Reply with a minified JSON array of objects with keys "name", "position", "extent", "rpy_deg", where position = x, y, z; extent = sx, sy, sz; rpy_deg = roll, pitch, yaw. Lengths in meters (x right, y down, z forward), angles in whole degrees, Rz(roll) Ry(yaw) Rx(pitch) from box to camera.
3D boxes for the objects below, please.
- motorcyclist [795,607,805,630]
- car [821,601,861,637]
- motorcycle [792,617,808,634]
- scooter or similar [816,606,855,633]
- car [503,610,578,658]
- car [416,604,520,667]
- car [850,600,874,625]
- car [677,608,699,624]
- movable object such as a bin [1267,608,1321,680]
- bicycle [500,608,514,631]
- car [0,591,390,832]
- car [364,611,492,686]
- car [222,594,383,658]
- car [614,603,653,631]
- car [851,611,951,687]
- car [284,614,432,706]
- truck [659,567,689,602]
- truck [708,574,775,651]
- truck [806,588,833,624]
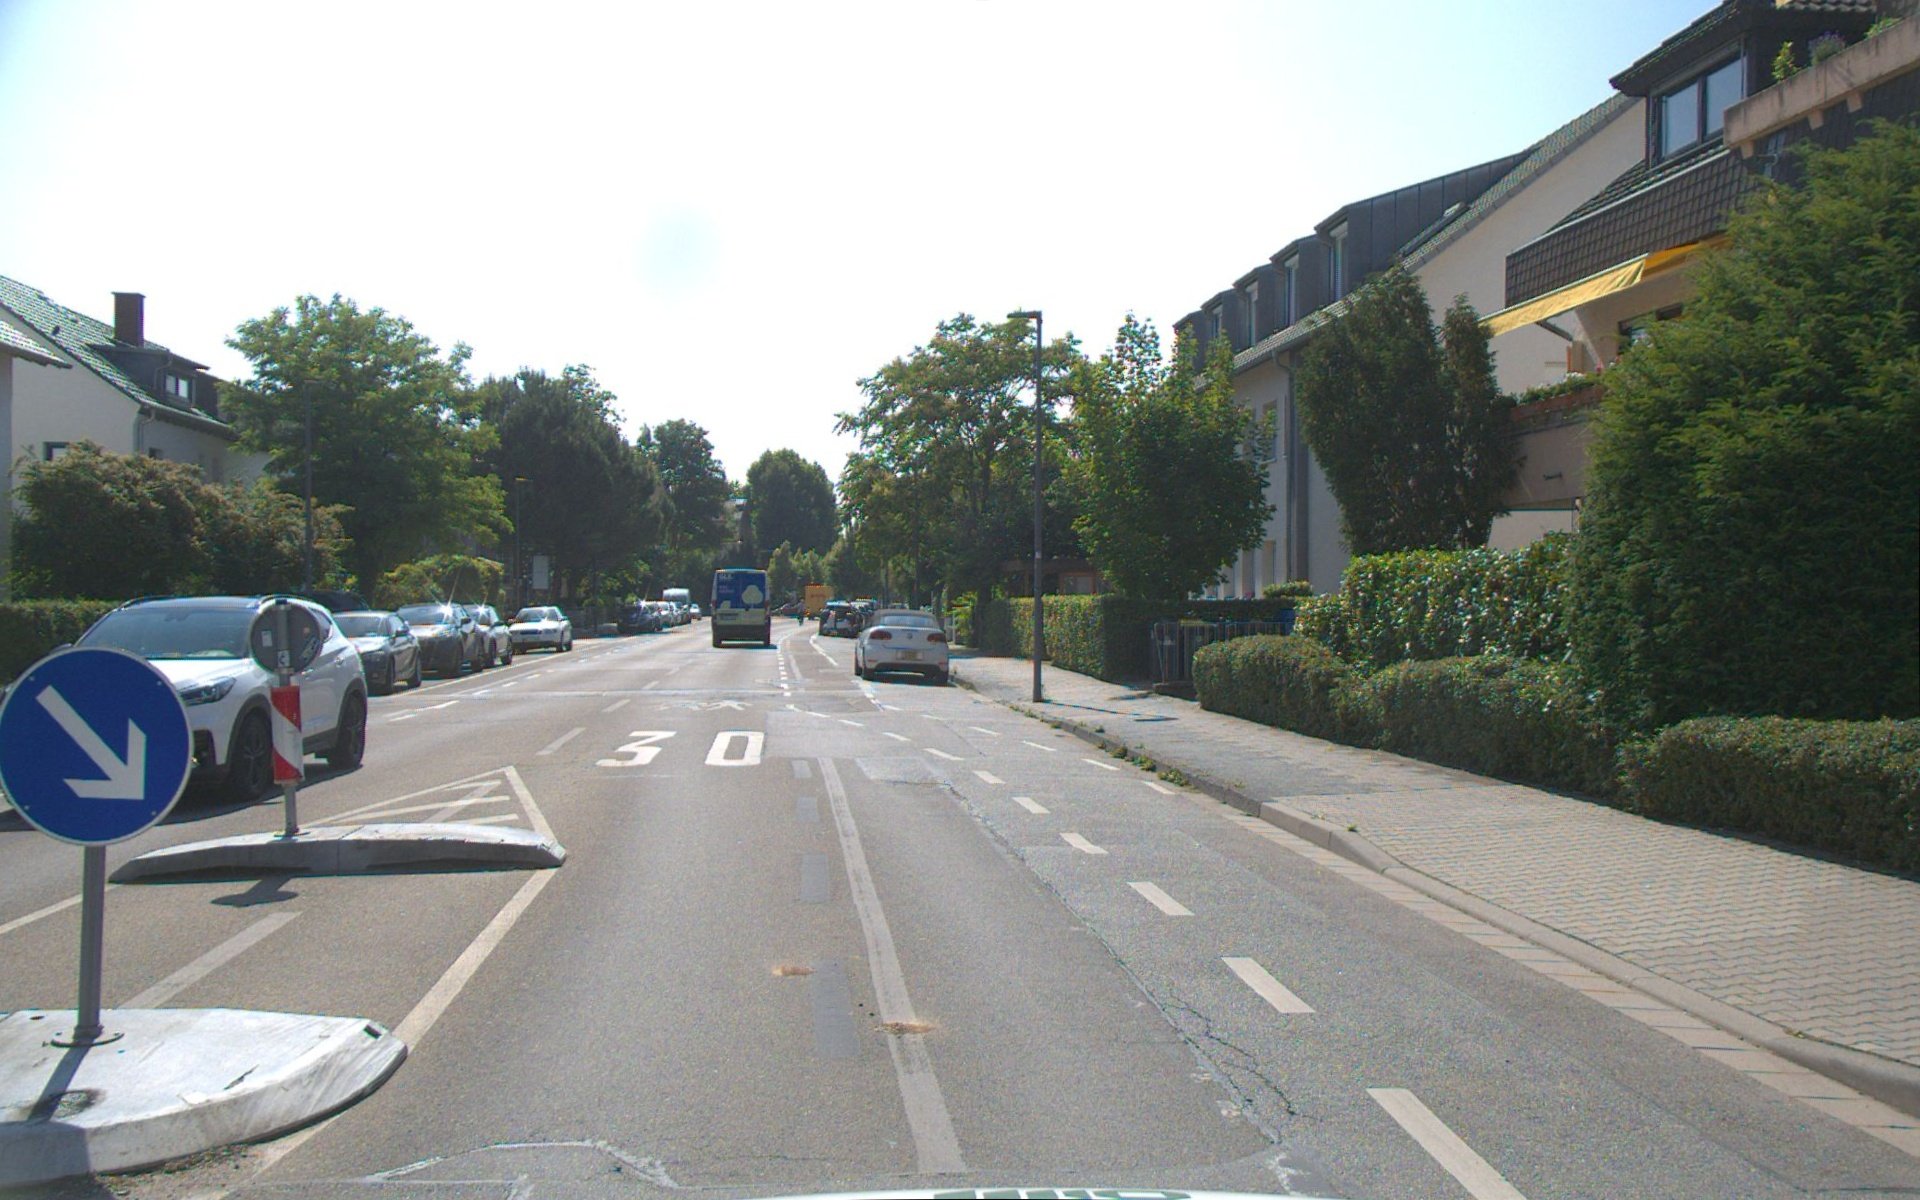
[{"name":"motorcyclist","position":[-10.782,1.227,111.295],"extent":[0.659,1.545,0.651],"rpy_deg":[0,-1,-6]},{"name":"car","position":[-5.919,0.912,81.855],"extent":[1.751,1.667,4.464],"rpy_deg":[2,0,-7]},{"name":"motorcycle","position":[-10.802,1.703,111.407],"extent":[1.036,1.142,2.988],"rpy_deg":[0,0,-6]},{"name":"scooter or similar","position":[-5.959,0.922,79.131],"extent":[1.763,1.174,0.716],"rpy_deg":[3,-1,39]},{"name":"car","position":[-13.343,1.058,52.823],"extent":[1.751,1.465,3.995],"rpy_deg":[0,0,-6]},{"name":"car","position":[-12.216,0.855,41.256],"extent":[1.751,1.465,3.995],"rpy_deg":[0,0,-6]},{"name":"car","position":[-6.888,0.846,116.094],"extent":[1.666,1.706,3.772],"rpy_deg":[0,0,-3]},{"name":"car","position":[-23.398,1.368,142.294],"extent":[1.721,1.367,3.647],"rpy_deg":[0,0,-8]},{"name":"movable object such as a bin","position":[6.071,0.789,30.083],"extent":[0.733,1.265,0.792],"rpy_deg":[0,0,-11]},{"name":"bicycle","position":[-25.032,1.087,91.391],"extent":[0.529,1.202,1.436],"rpy_deg":[-1,2,-23]},{"name":"car","position":[-6.548,0.822,14.256],"extent":[1.877,1.695,4.503],"rpy_deg":[-2,0,-3]},{"name":"car","position":[-11.537,1.003,36.144],"extent":[1.750,1.465,4.106],"rpy_deg":[-1,0,-5]},{"name":"car","position":[-18.931,0.719,47.749],"extent":[3.910,1.790,1.997],"rpy_deg":[0,0,-6]},{"name":"car","position":[-17.198,0.882,87.201],"extent":[1.747,1.485,4.079],"rpy_deg":[0,0,-7]},{"name":"car","position":[-1.277,0.977,34.238],"extent":[1.707,1.427,4.067],"rpy_deg":[0,0,-7]},{"name":"car","position":[-10.865,1.030,30.134],"extent":[1.752,1.465,4.145],"rpy_deg":[-2,0,-9]},{"name":"truck","position":[-21.076,-1.134,122.064],"extent":[2.042,2.582,5.455],"rpy_deg":[0,0,-9]},{"name":"truck","position":[-7.657,0.434,58.261],"extent":[2.229,2.616,4.385],"rpy_deg":[0,0,-7]},{"name":"truck","position":[-12.026,0.544,141.735],"extent":[2.170,2.998,5.681],"rpy_deg":[0,0,-4]}]
